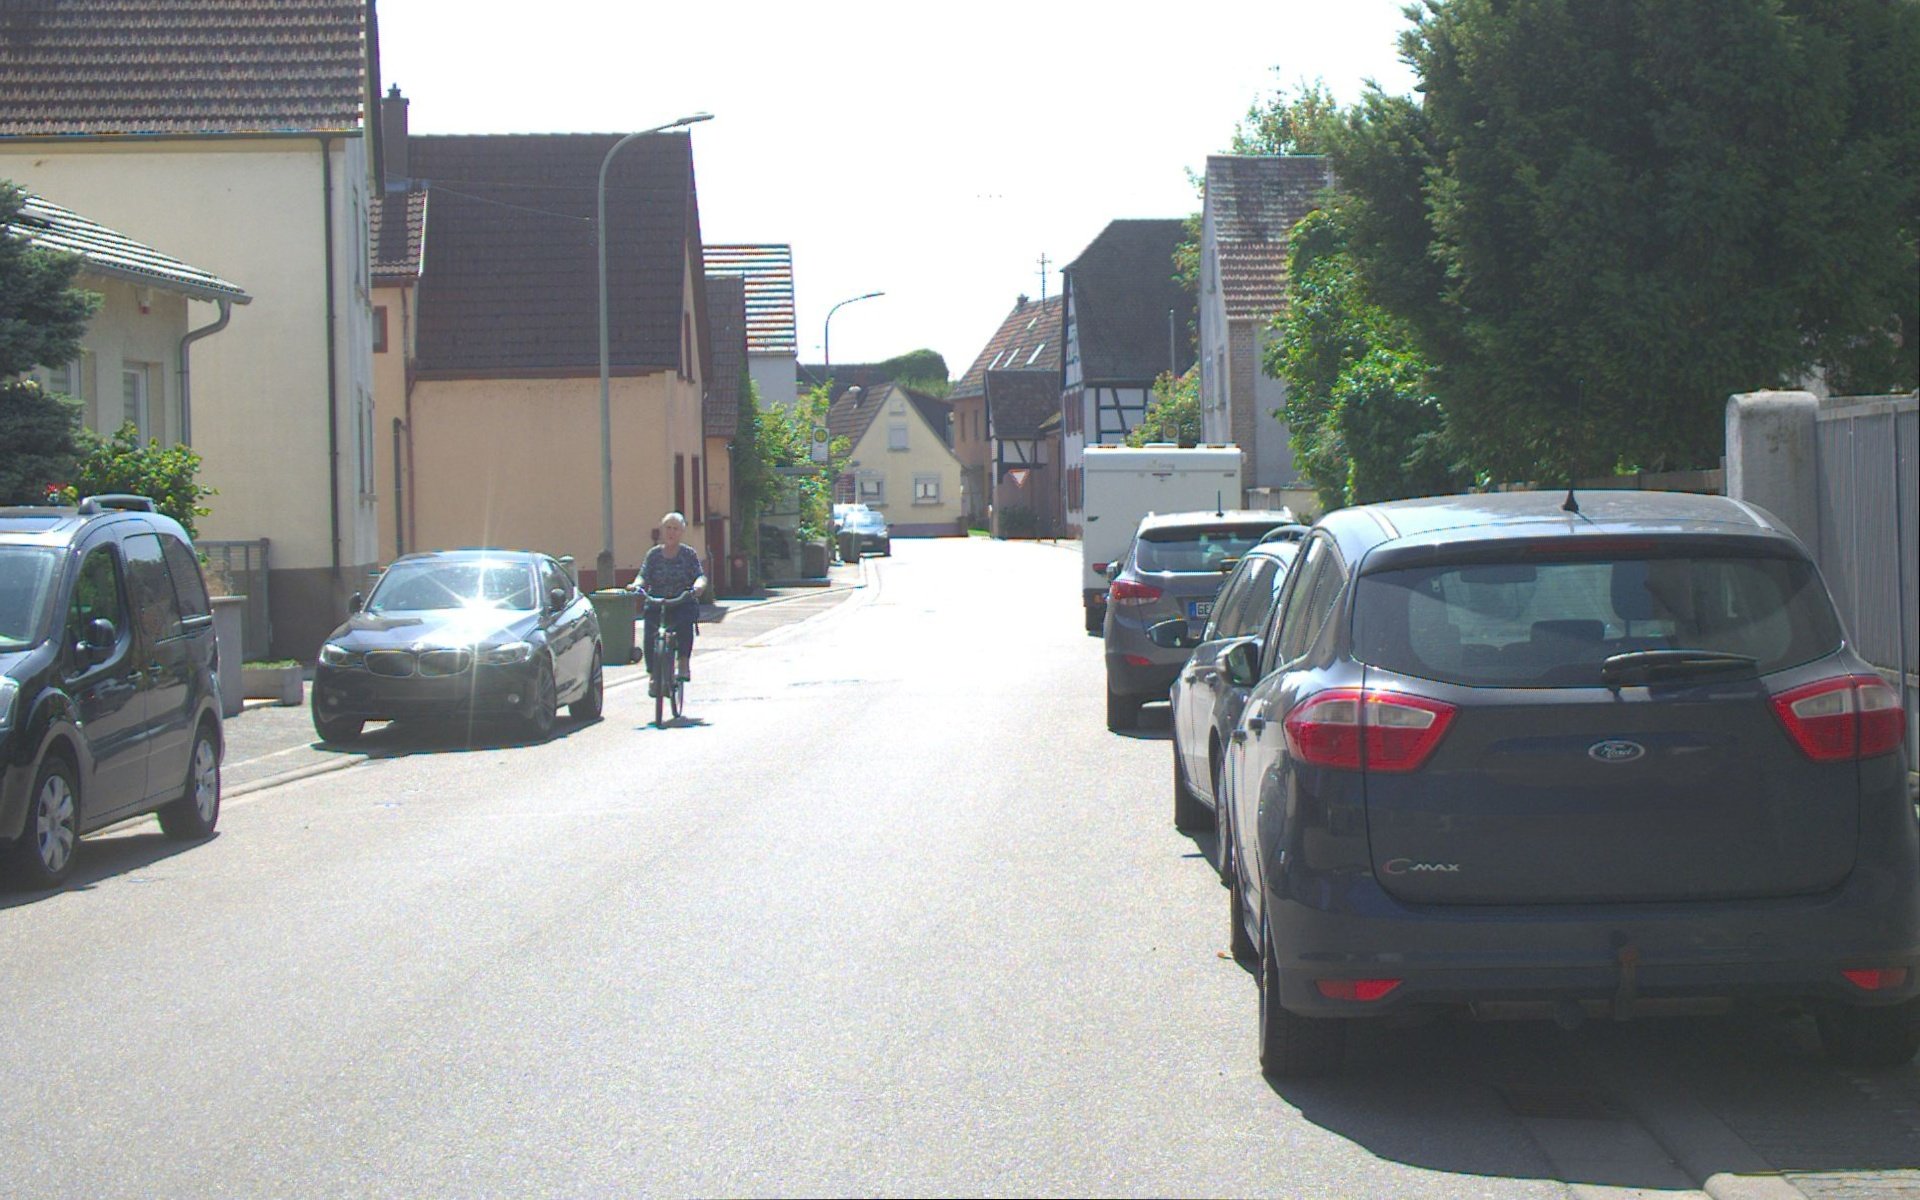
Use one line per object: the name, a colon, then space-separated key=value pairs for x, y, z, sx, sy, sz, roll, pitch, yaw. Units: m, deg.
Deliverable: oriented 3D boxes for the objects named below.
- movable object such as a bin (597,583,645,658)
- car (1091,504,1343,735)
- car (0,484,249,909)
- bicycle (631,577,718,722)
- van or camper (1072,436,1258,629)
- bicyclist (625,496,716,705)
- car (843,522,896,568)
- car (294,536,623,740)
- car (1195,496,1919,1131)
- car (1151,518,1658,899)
movable object such as a bin: x=-4.322 y=0.260 z=43.835 sx=0.539 sy=0.946 sz=0.553 roll=0 pitch=1 yaw=2
car: x=2.075 y=0.088 z=27.290 sx=1.794 sy=1.625 sz=4.360 roll=-1 pitch=2 yaw=5
car: x=-4.992 y=0.394 z=16.952 sx=1.835 sy=1.831 sz=4.353 roll=-2 pitch=1 yaw=3
bicycle: x=-2.428 y=0.403 z=29.365 sx=0.589 sy=1.144 sz=1.949 roll=-2 pitch=1 yaw=-1
van or camper: x=2.994 y=-1.012 z=51.239 sx=2.522 sy=2.687 sz=4.555 roll=-1 pitch=1 yaw=1
bicyclist: x=-2.475 y=-0.003 z=29.459 sx=0.703 sy=1.765 sz=0.625 roll=-1 pitch=1 yaw=-2
car: x=-2.983 y=-1.843 z=114.314 sx=1.512 sy=1.431 sz=3.511 roll=-2 pitch=1 yaw=2
car: x=-4.092 y=0.248 z=28.836 sx=1.844 sy=1.521 sz=4.765 roll=-1 pitch=1 yaw=3
car: x=1.719 y=0.485 z=10.887 sx=1.798 sy=1.555 sz=4.631 roll=-1 pitch=1 yaw=3
car: x=1.925 y=0.392 z=16.203 sx=1.819 sy=1.503 sz=4.582 roll=-1 pitch=1 yaw=1
